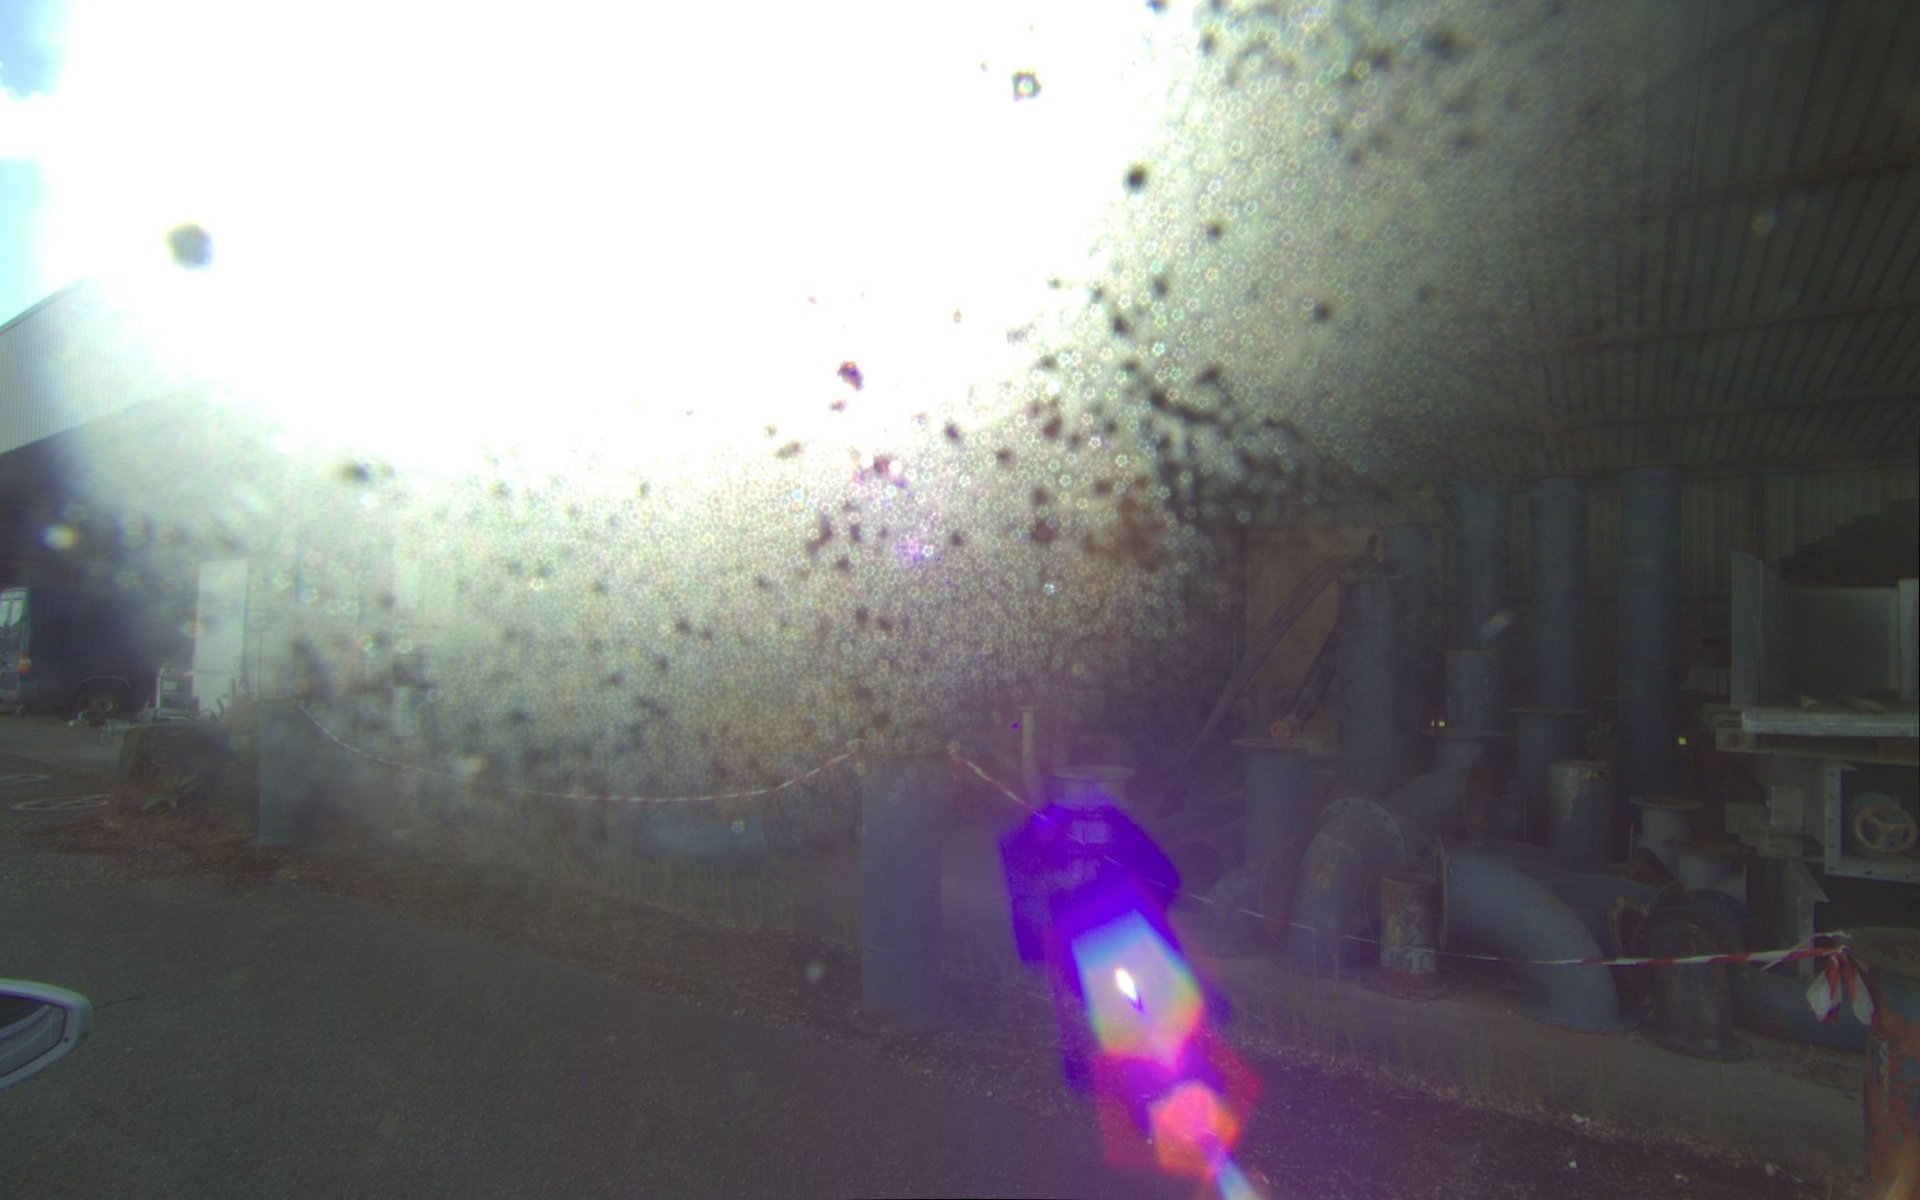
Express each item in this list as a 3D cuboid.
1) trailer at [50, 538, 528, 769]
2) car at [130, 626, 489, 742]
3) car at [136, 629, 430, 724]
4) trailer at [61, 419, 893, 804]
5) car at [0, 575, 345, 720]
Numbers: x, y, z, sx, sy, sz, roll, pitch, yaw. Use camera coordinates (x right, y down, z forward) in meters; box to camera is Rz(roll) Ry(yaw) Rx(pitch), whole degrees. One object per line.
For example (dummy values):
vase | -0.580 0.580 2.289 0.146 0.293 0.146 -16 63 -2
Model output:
trailer | -8.373 0.676 12.964 1.804 2.421 4.796 -1 -3 38
car | -9.820 1.213 15.493 1.751 1.514 4.324 -1 -3 31
car | -11.919 1.306 17.912 1.761 1.491 3.985 -1 -3 29
trailer | -5.055 0.323 13.430 2.814 3.256 10.018 -1 -3 34
car | -14.769 0.906 18.905 1.973 2.354 4.969 -1 -3 34
